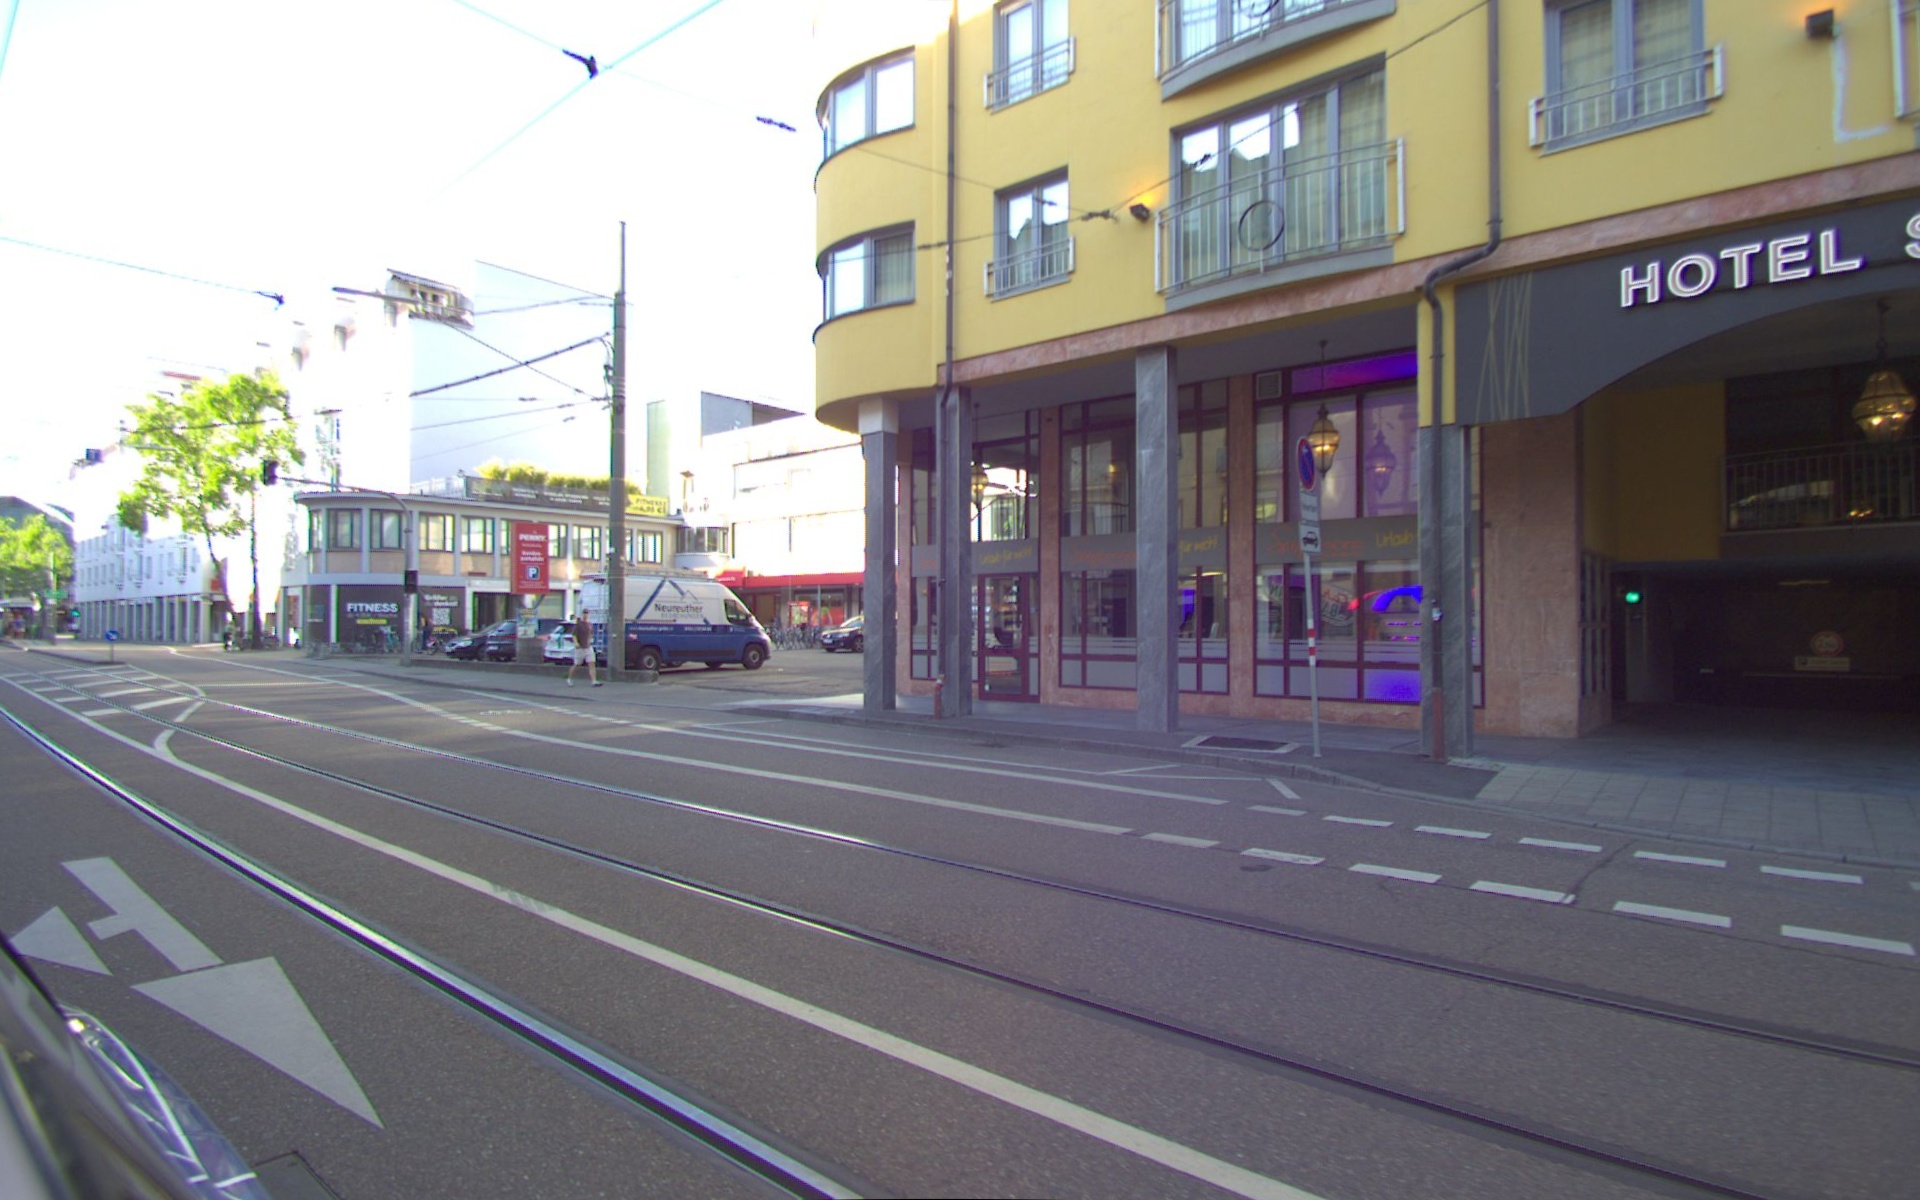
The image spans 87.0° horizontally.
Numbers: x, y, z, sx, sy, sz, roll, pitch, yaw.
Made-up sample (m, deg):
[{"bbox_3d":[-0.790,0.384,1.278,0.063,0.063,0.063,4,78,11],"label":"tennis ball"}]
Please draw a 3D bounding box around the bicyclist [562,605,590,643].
[{"bbox_3d":[-16.001,1.003,42.200,0.687,1.561,0.831,-1,-2,24],"label":"bicyclist"}]

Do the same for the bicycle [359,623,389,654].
[{"bbox_3d":[-23.236,1.515,40.136,1.830,1.196,0.436,-2,-2,40],"label":"bicycle"}]

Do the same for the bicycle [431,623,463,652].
[{"bbox_3d":[-21.170,1.543,41.742,1.829,1.196,0.444,-2,-2,38],"label":"bicycle"}]

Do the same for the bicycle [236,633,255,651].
[{"bbox_3d":[-37.519,2.213,53.161,1.850,0.919,0.384,-1,0,42],"label":"bicycle"}]

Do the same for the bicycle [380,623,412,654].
[{"bbox_3d":[-22.733,1.543,40.755,1.829,1.196,0.438,-2,-2,38],"label":"bicycle"}]

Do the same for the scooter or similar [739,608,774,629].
[{"bbox_3d":[-9.607,0.875,47.781,0.915,0.968,1.348,-1,-1,38],"label":"scooter or similar"}]

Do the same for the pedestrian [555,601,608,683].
[{"bbox_3d":[-8.756,0.958,23.403,0.908,1.846,0.825,-2,-2,40],"label":"pedestrian"}]

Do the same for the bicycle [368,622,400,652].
[{"bbox_3d":[-23.093,1.487,40.574,1.829,1.196,0.444,-2,-2,38],"label":"bicycle"}]

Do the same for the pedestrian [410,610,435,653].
[{"bbox_3d":[-21.557,1.254,40.561,0.682,1.710,0.674,-2,-2,38],"label":"pedestrian"}]

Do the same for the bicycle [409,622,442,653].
[{"bbox_3d":[-21.472,1.507,40.622,1.829,1.196,0.444,-2,-2,38],"label":"bicycle"}]

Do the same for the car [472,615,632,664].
[{"bbox_3d":[-13.288,1.262,33.172,1.878,1.487,4.541,-2,-2,41],"label":"car"}]

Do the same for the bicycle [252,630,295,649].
[{"bbox_3d":[-36.779,2.126,54.217,1.824,0.919,0.389,-1,-2,-45],"label":"bicycle"}]

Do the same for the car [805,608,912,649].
[{"bbox_3d":[-3.905,1.076,39.520,1.997,1.519,3.949,-1,-1,38],"label":"car"}]

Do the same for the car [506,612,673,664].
[{"bbox_3d":[-11.390,1.139,31.379,1.878,1.487,4.541,-2,-2,41],"label":"car"}]

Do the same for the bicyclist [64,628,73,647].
[{"bbox_3d":[-81.172,3.405,92.150,0.807,1.713,0.508,-1,0,41],"label":"bicyclist"}]

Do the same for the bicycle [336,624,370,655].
[{"bbox_3d":[-24.129,1.562,40.245,1.827,1.196,0.441,-2,-2,35],"label":"bicycle"}]

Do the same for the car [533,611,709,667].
[{"bbox_3d":[-9.738,1.089,29.362,1.878,1.487,4.541,-2,-2,41],"label":"car"}]

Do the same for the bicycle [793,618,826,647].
[{"bbox_3d":[-6.309,1.350,42.371,0.426,1.196,1.833,1,-1,-42],"label":"bicycle"}]

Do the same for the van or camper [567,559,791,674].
[{"bbox_3d":[-7.626,0.365,28.009,2.314,2.848,5.548,-2,0,41],"label":"van or camper"}]

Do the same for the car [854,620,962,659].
[{"bbox_3d":[-1.910,1.442,38.277,1.997,1.364,3.949,-1,-1,38],"label":"car"}]

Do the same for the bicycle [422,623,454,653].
[{"bbox_3d":[-21.182,1.534,41.036,1.829,1.196,0.444,-2,-2,38],"label":"bicycle"}]

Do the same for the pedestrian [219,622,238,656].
[{"bbox_3d":[-38.613,2.048,53.434,0.621,1.729,0.828,0,-1,-22],"label":"pedestrian"}]

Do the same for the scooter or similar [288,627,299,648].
[{"bbox_3d":[-34.958,1.964,53.111,0.330,1.120,1.184,0,-1,-26],"label":"scooter or similar"}]

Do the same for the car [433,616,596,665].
[{"bbox_3d":[-15.290,1.358,34.934,1.878,1.595,4.844,-2,-2,41],"label":"car"}]
